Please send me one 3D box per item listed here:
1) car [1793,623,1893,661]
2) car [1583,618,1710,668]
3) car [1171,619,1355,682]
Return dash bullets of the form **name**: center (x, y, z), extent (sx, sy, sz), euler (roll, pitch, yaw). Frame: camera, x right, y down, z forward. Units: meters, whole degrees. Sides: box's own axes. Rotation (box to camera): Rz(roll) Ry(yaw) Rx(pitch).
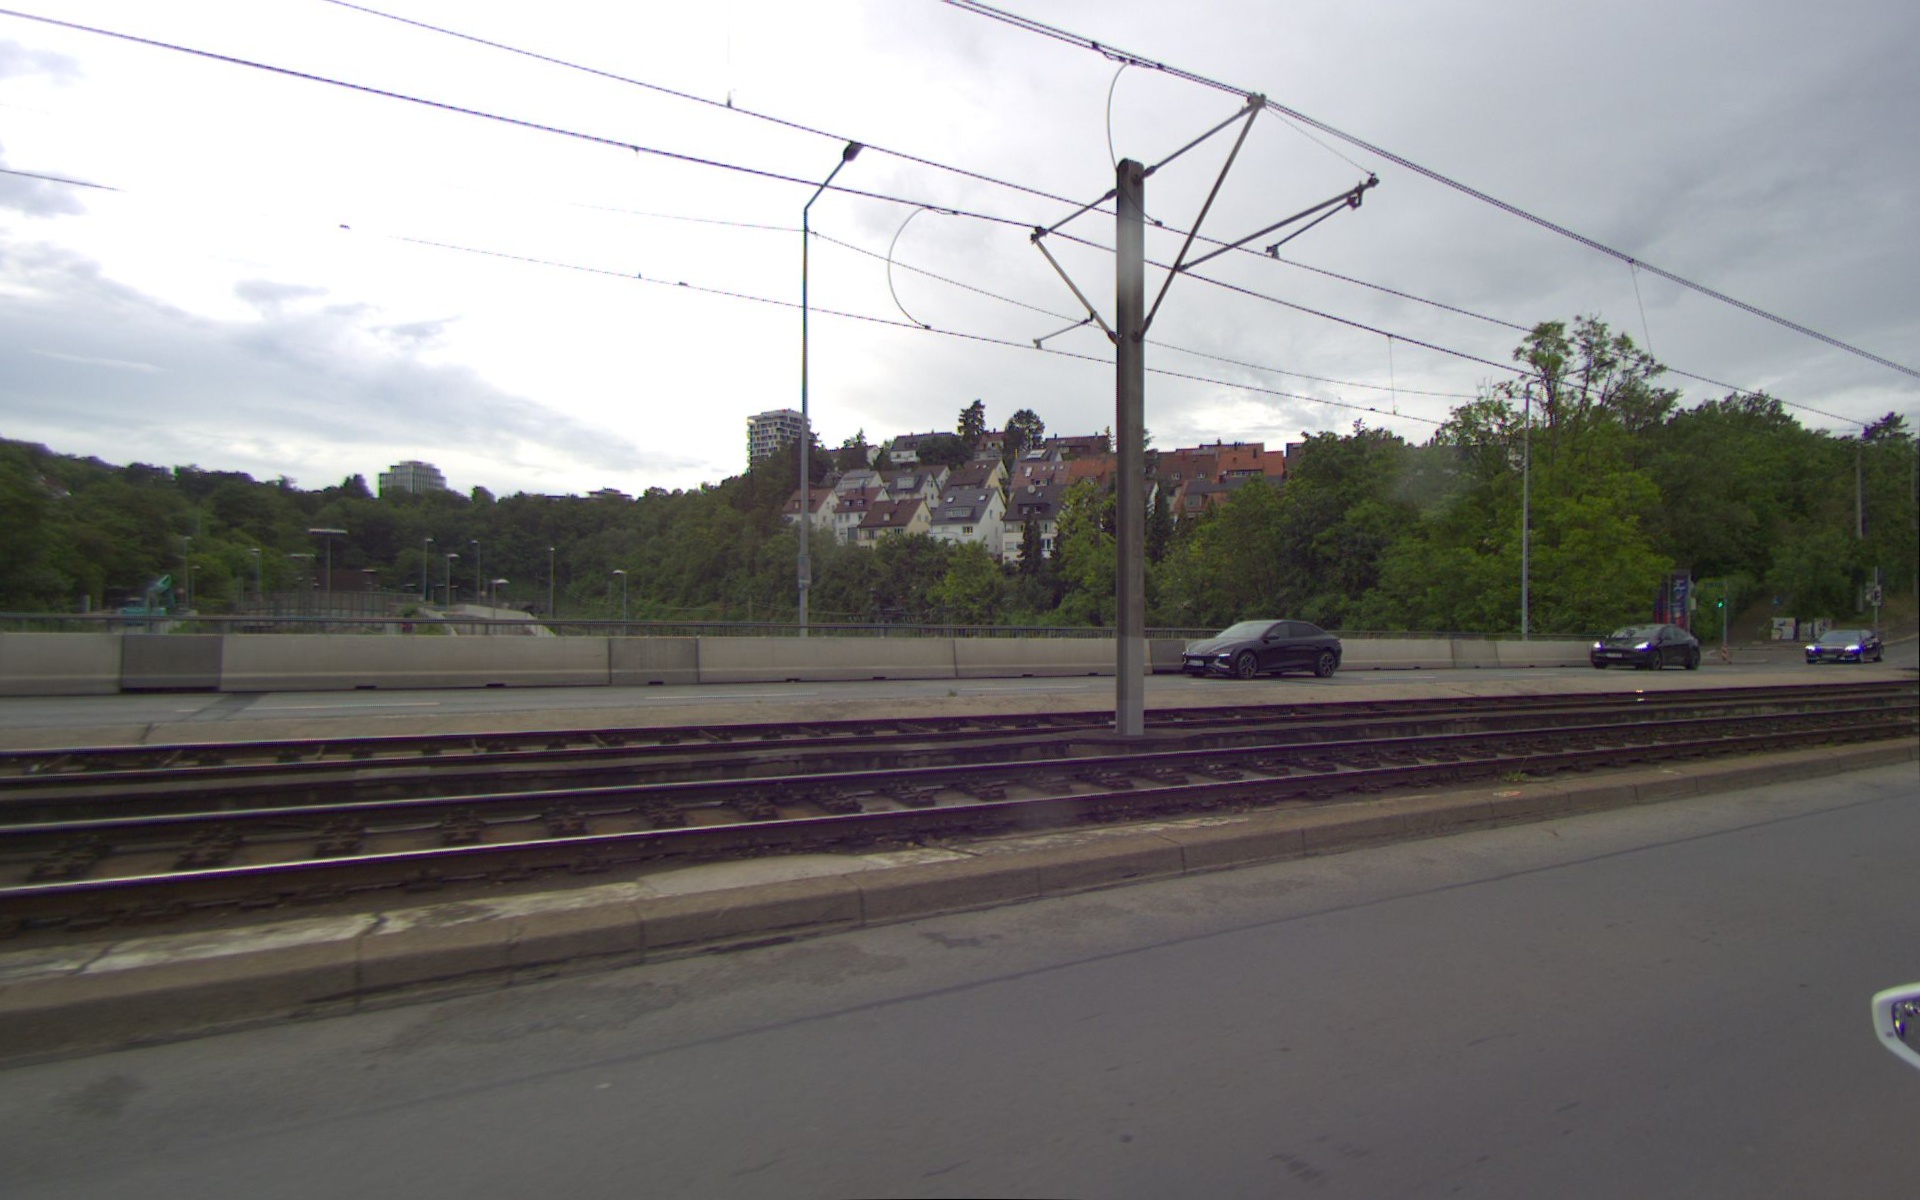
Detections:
- **car**: center (40.285, 1.926, 45.791), extent (5.125, 1.618, 1.959), euler (2, -2, -31)
- **car**: center (24.172, 1.465, 35.320), extent (4.677, 1.618, 1.887), euler (0, -1, -31)
- **car**: center (7.800, 1.236, 25.734), extent (4.684, 1.455, 1.808), euler (1, 0, -30)
